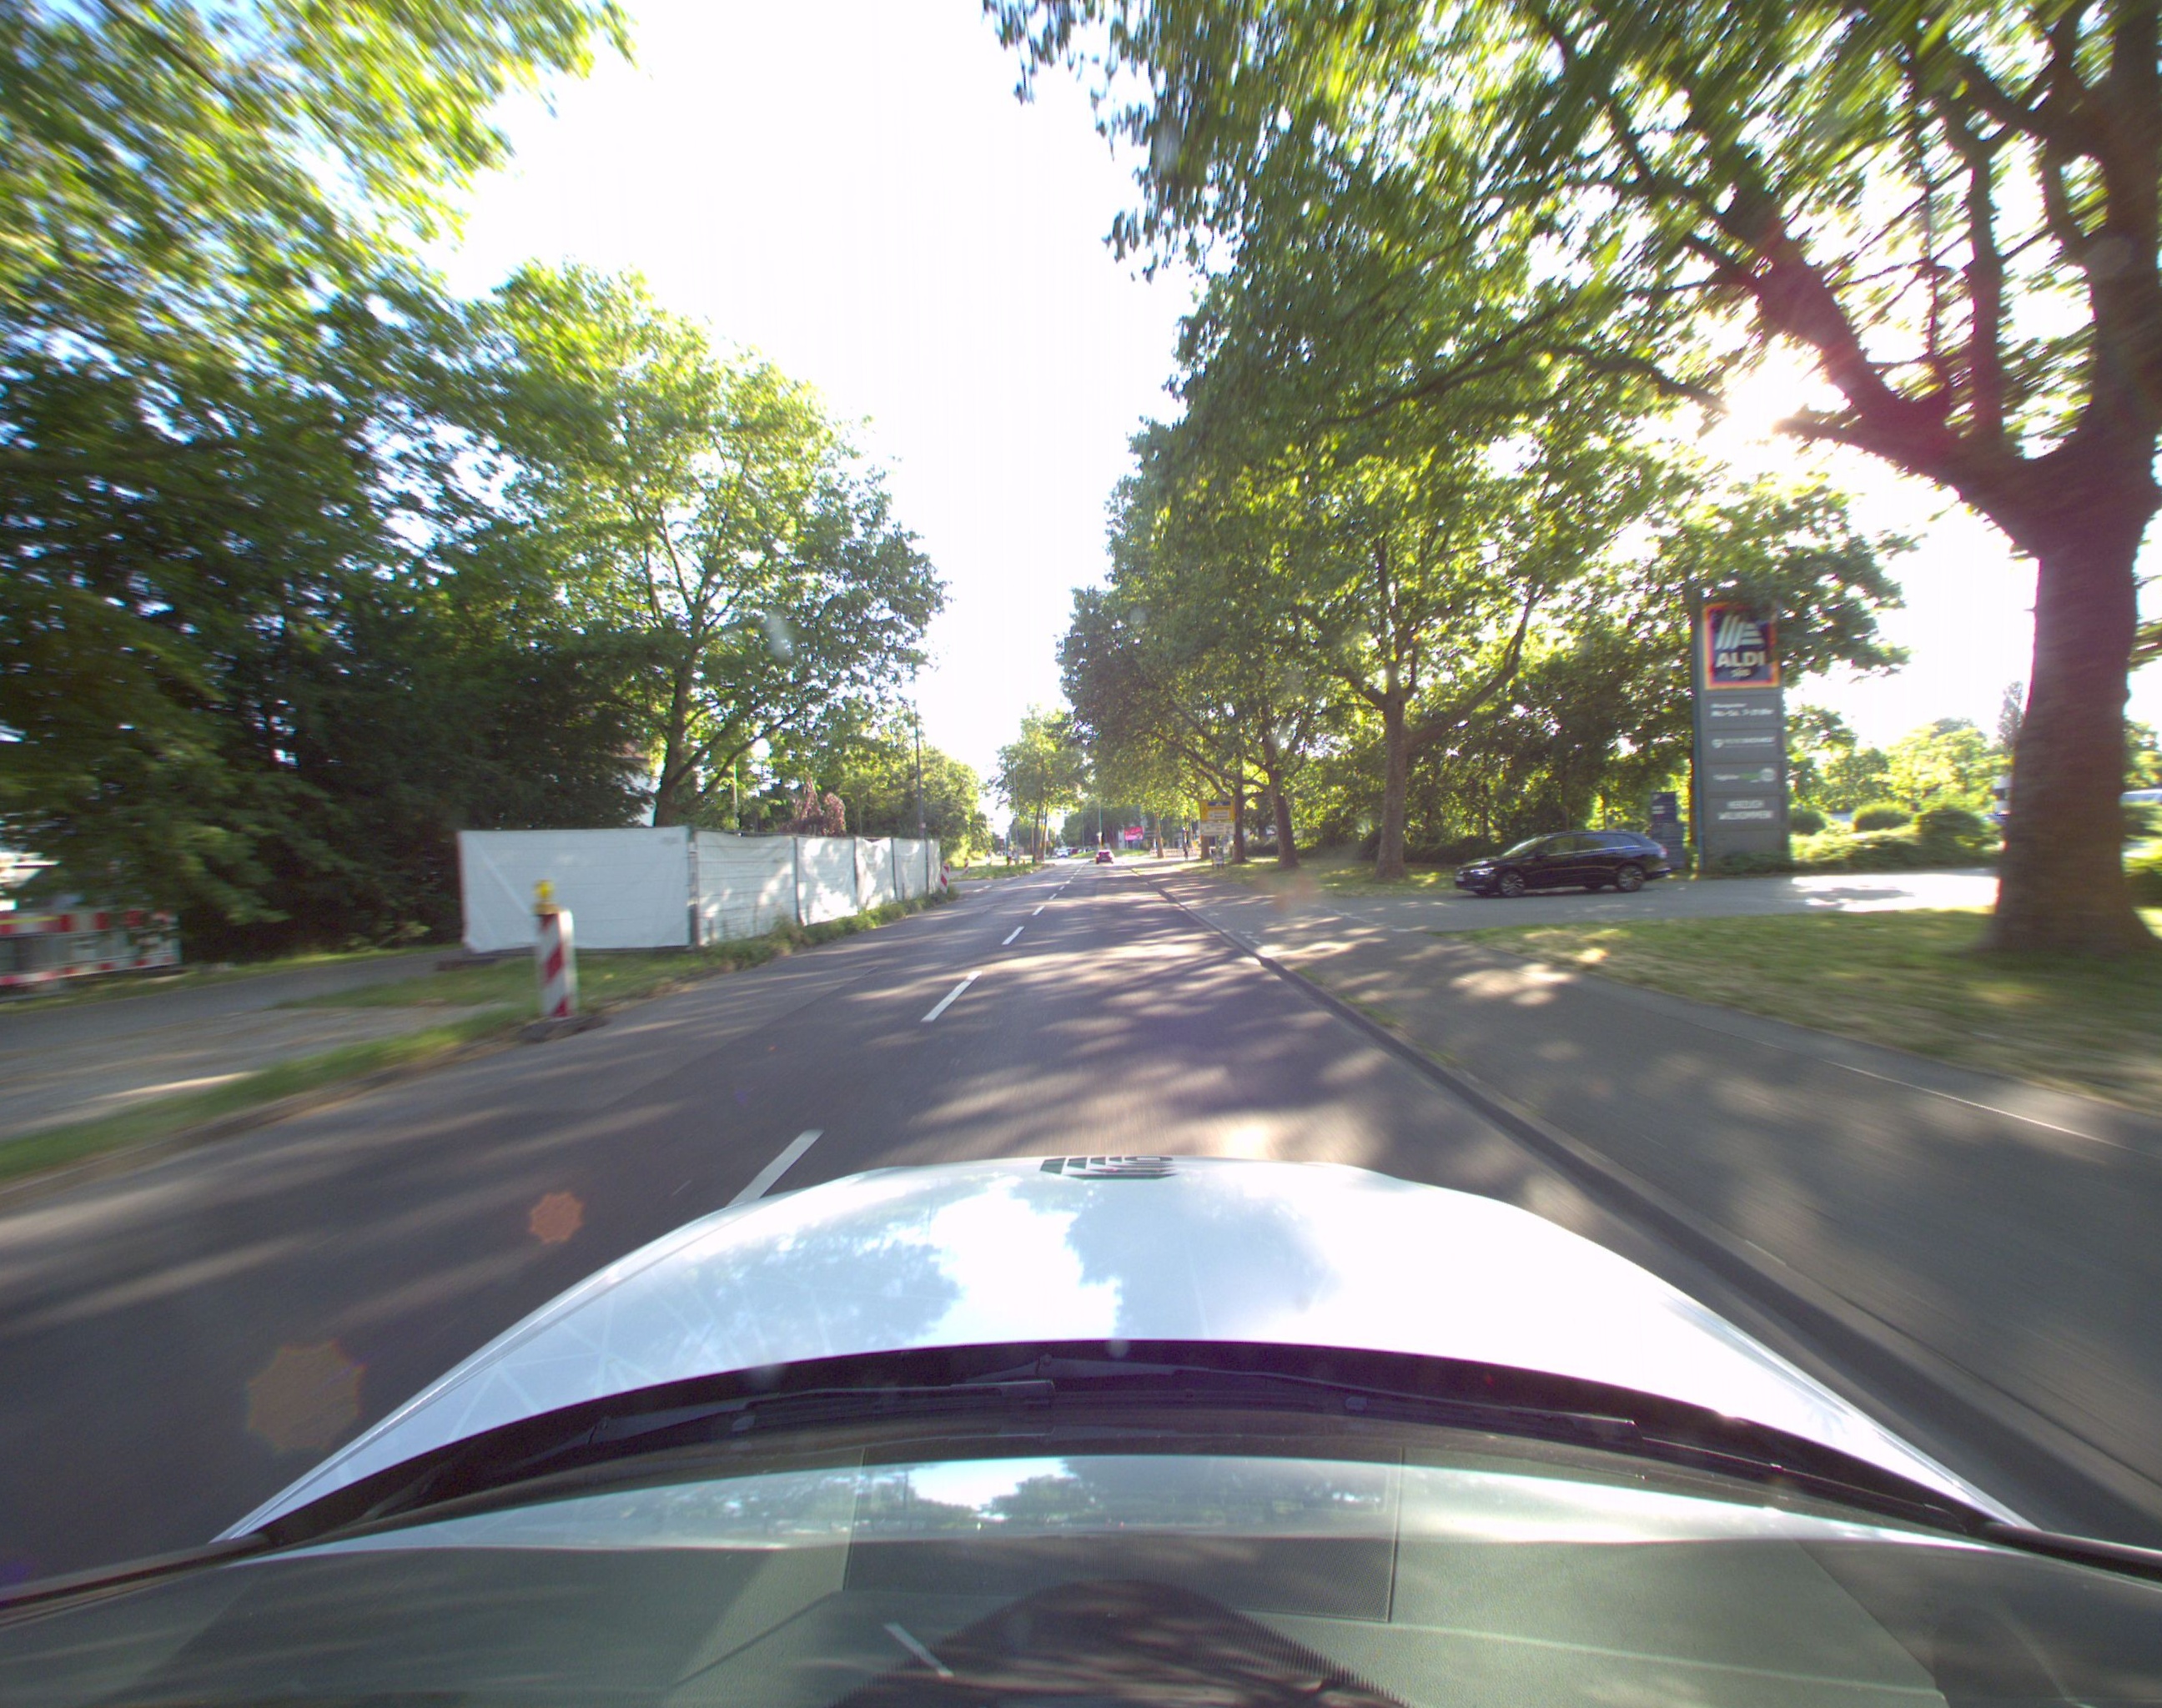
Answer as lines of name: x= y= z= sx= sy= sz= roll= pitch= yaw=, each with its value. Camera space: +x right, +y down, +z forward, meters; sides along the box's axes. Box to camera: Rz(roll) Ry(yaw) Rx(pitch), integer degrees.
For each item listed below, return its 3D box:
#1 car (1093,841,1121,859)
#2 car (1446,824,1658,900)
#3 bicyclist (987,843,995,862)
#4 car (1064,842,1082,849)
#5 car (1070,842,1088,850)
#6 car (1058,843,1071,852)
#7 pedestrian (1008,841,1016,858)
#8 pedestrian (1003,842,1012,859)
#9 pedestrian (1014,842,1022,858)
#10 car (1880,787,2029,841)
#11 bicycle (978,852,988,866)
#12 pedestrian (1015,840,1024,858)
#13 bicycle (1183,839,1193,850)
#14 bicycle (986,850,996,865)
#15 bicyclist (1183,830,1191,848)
car: x=2.708 y=-0.456 z=83.892 sx=1.825 sy=1.605 sz=3.879 roll=-3 pitch=1 yaw=16
car: x=11.125 y=0.162 z=19.452 sx=3.969 sy=1.443 sz=1.763 roll=-4 pitch=1 yaw=4
bicyclist: x=-8.462 y=-0.160 z=76.585 sx=0.577 sy=1.679 sz=0.971 roll=-4 pitch=2 yaw=0
car: x=-1.940 y=-2.059 z=196.883 sx=4.011 sy=1.746 sz=1.779 roll=-3 pitch=2 yaw=-29
car: x=-0.476 y=-1.971 z=194.498 sx=4.011 sy=1.746 sz=1.779 roll=-3 pitch=2 yaw=-29
car: x=-3.344 y=-1.324 z=164.649 sx=1.992 sy=1.578 sz=3.991 roll=-4 pitch=1 yaw=-7
pedestrian: x=-7.131 y=-0.436 z=83.782 sx=0.630 sy=1.739 sz=0.665 roll=-3 pitch=1 yaw=3
pedestrian: x=-7.613 y=-0.386 z=84.565 sx=0.662 sy=1.739 sz=0.752 roll=-3 pitch=1 yaw=3
pedestrian: x=-6.416 y=-0.431 z=83.403 sx=0.630 sy=1.637 sz=0.577 roll=-3 pitch=1 yaw=2
car: x=37.931 y=-1.717 z=35.480 sx=3.960 sy=2.013 sz=2.007 roll=-3 pitch=1 yaw=12
bicycle: x=-9.457 y=0.471 z=78.558 sx=0.577 sy=1.185 sz=2.033 roll=-8 pitch=1 yaw=1
pedestrian: x=-6.380 y=-0.517 z=84.691 sx=0.745 sy=1.739 sz=0.852 roll=-3 pitch=1 yaw=3
bicycle: x=10.564 y=-0.931 z=80.441 sx=0.767 sy=0.964 sz=2.175 roll=-5 pitch=1 yaw=1
bicycle: x=-8.428 y=0.319 z=76.574 sx=0.577 sy=1.245 sz=2.108 roll=-4 pitch=2 yaw=1
bicyclist: x=10.500 y=-1.466 z=80.547 sx=0.648 sy=1.705 sz=0.872 roll=-2 pitch=1 yaw=2
